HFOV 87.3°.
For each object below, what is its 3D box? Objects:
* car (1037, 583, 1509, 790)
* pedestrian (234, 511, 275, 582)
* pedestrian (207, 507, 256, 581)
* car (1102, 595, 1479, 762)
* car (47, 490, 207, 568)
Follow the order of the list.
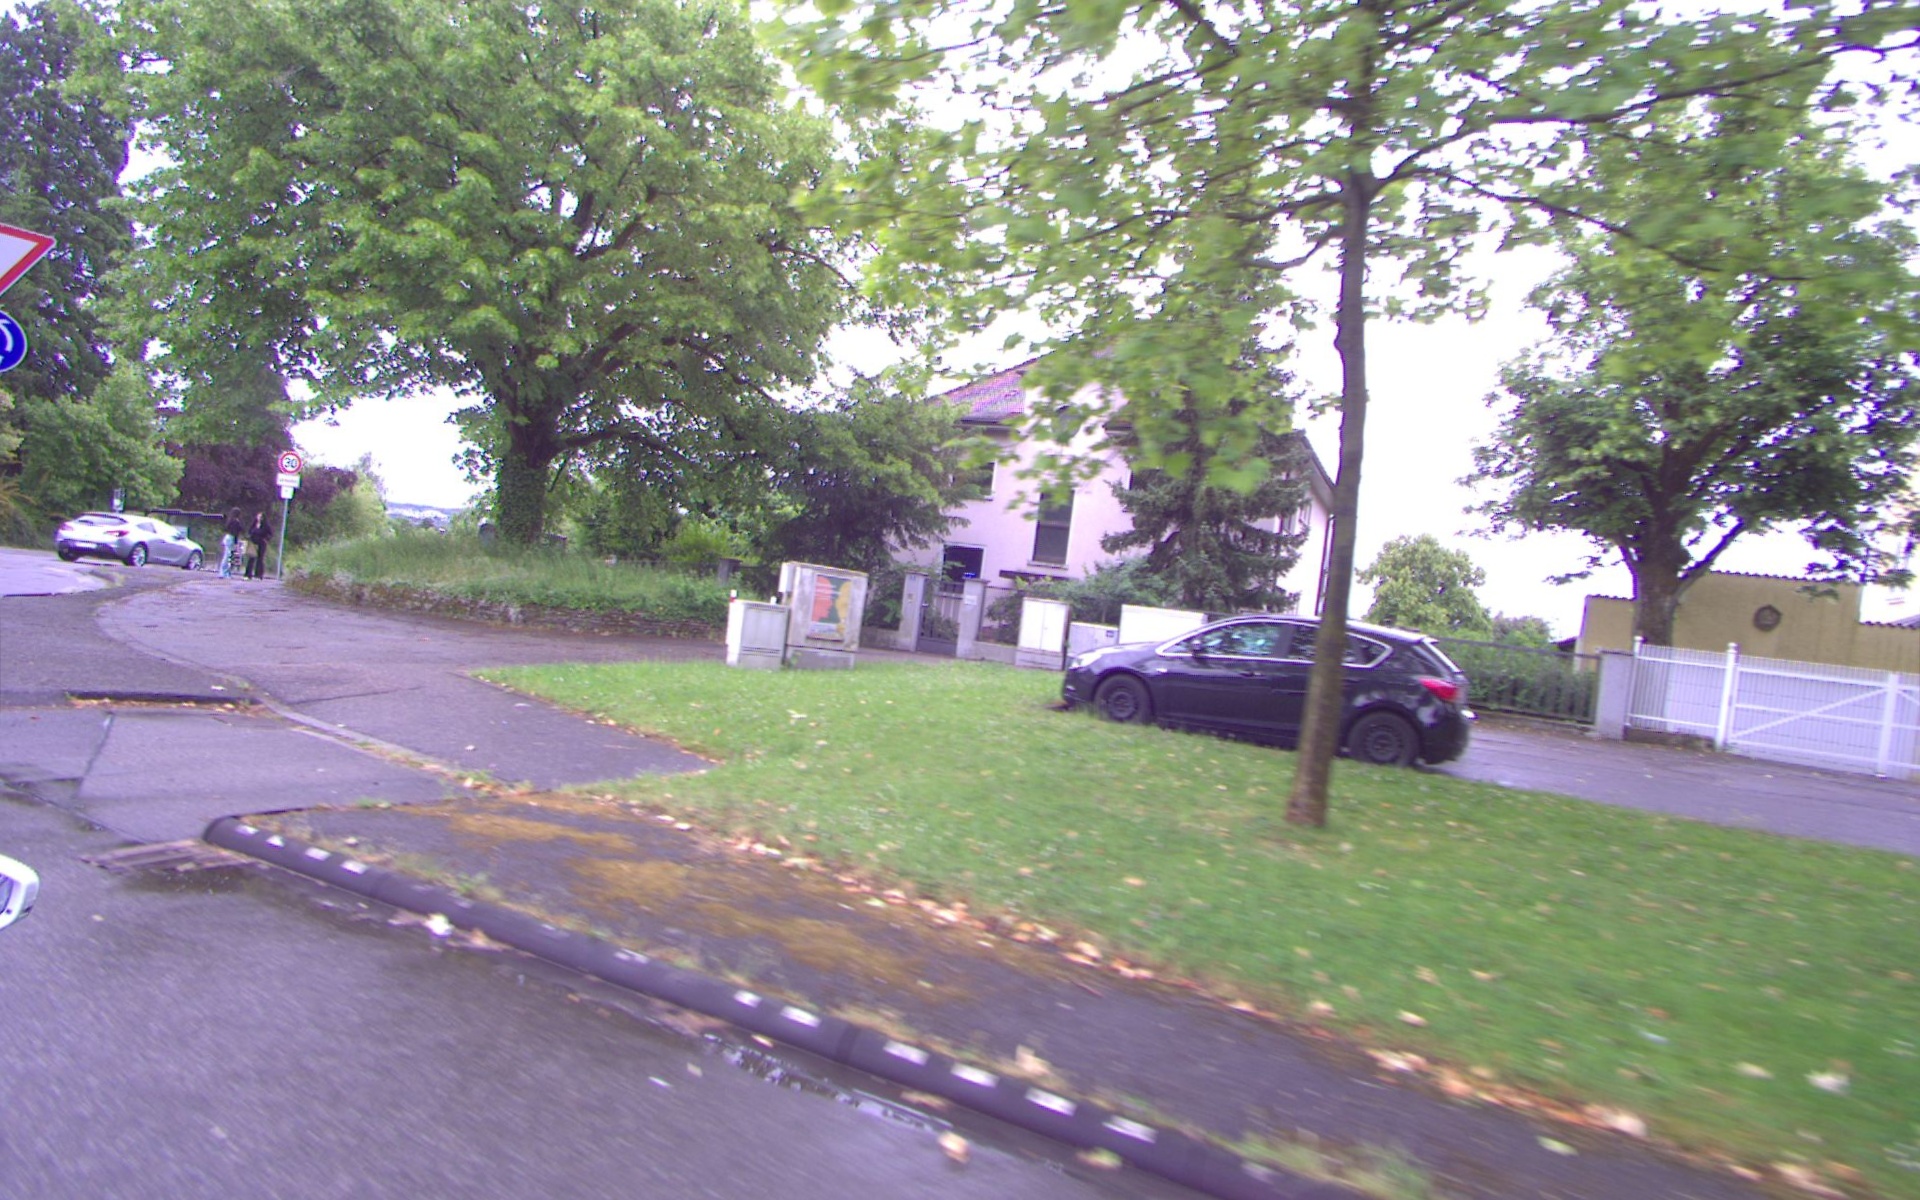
[{"bbox_3d":[3.318,0.796,10.940,4.519,1.490,1.766,6,2,29],"label":"car"},{"bbox_3d":[-18.078,-1.372,25.782,0.632,1.733,0.523,8,-1,-44],"label":"pedestrian"},{"bbox_3d":[-18.006,-1.376,24.875,0.624,1.733,0.530,7,-1,16],"label":"pedestrian"},{"bbox_3d":[4.296,0.926,13.212,4.349,1.490,1.848,6,1,28],"label":"car"},{"bbox_3d":[-23.427,-1.918,28.516,1.742,1.824,4.233,6,0,-15],"label":"car"}]
